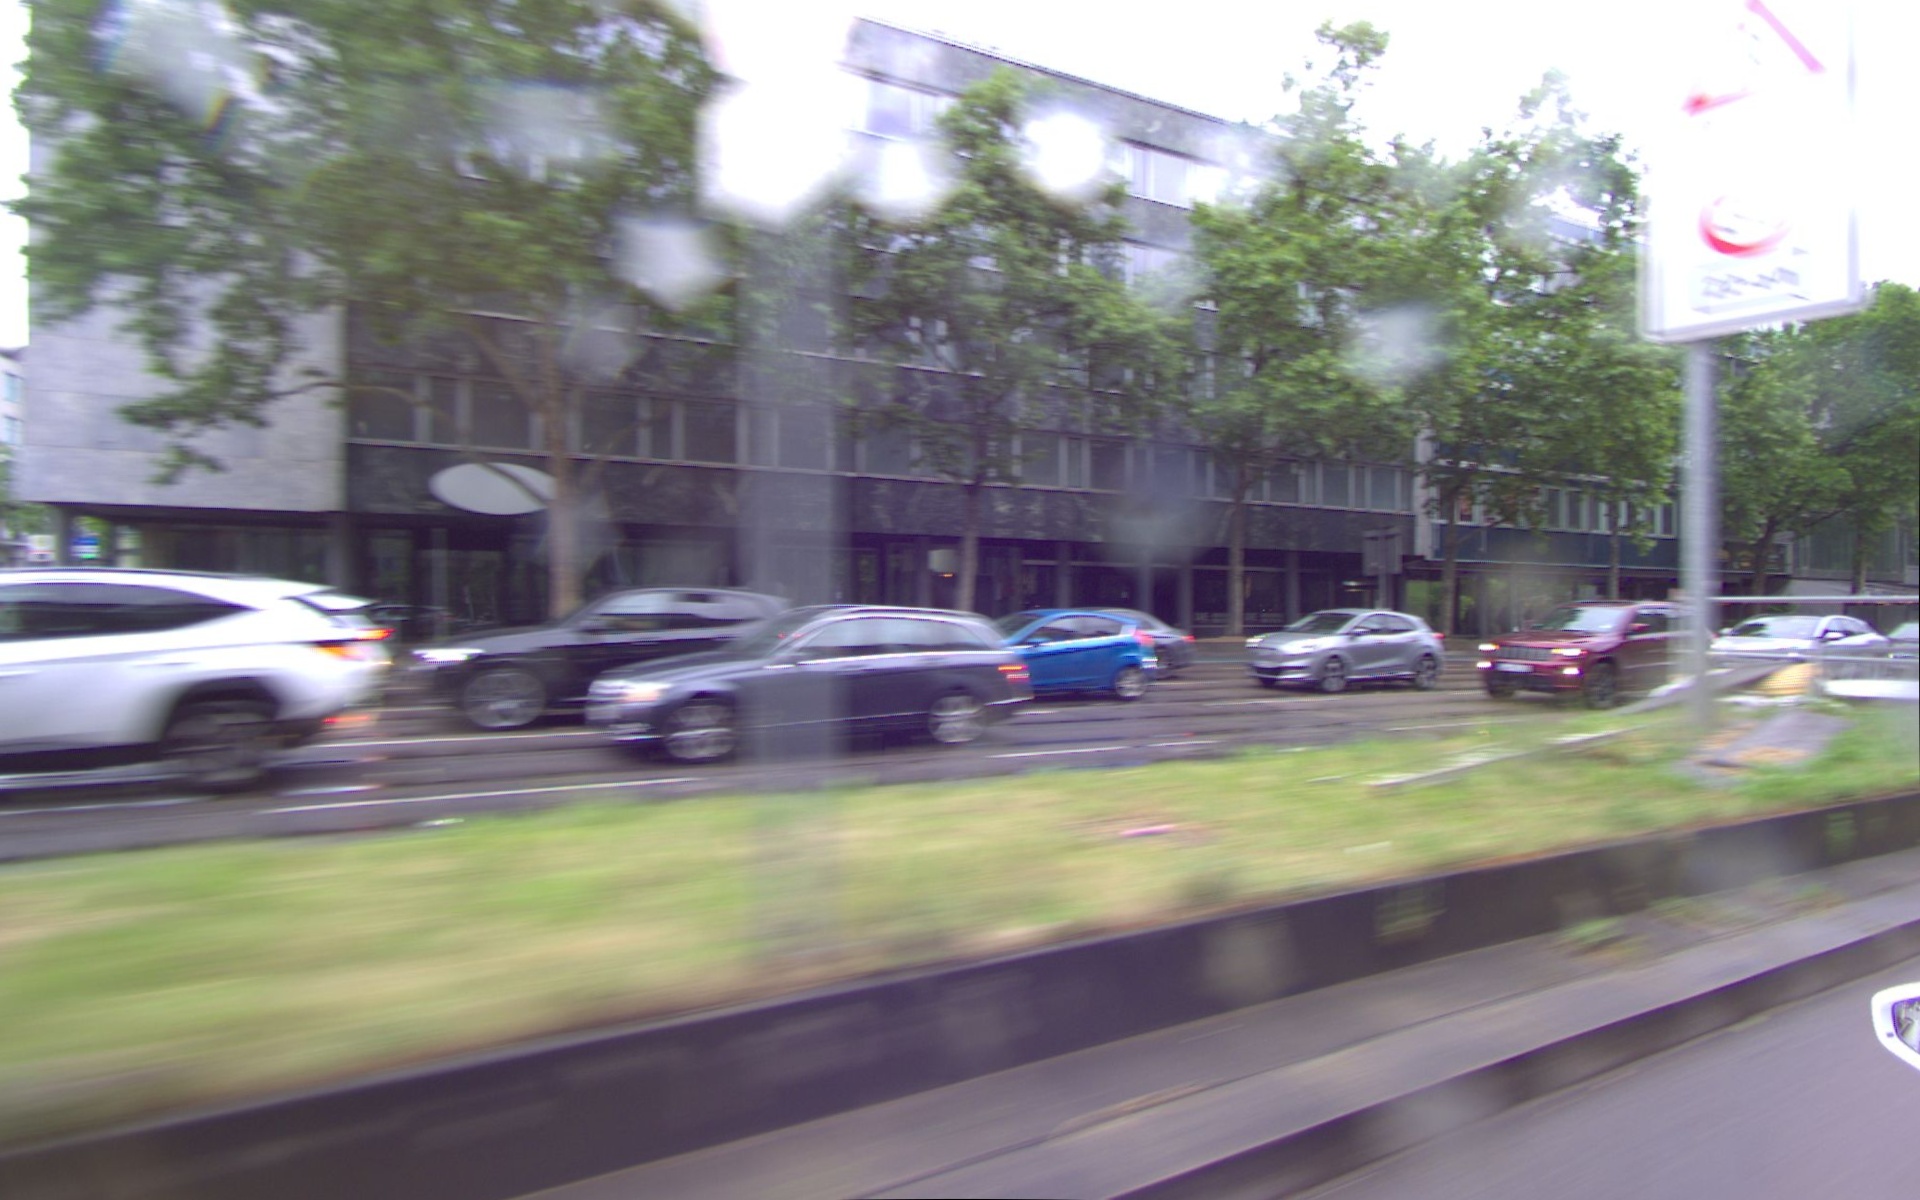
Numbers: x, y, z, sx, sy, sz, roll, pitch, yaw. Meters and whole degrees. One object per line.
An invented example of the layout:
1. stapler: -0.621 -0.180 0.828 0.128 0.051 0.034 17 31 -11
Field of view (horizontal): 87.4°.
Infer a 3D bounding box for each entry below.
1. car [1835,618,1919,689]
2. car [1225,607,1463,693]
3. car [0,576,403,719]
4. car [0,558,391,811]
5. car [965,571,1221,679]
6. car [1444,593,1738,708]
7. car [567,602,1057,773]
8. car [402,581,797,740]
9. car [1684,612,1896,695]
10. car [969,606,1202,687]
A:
1. car: 23.633 1.251 24.404 4.479 1.573 1.909 1 0 -25
2. car: 7.452 0.904 19.419 4.509 1.511 1.713 1 0 -27
3. car: -9.932 0.566 13.173 4.536 1.625 1.983 1 0 -31
4. car: -7.015 0.567 7.543 4.743 1.708 1.867 1 0 -31
5. car: 2.227 0.399 16.581 3.953 1.586 1.744 1 0 -30
6. car: 10.966 0.803 17.405 5.038 1.790 1.831 1 0 -24
7. car: -1.493 0.787 10.703 4.855 1.470 1.836 1 0 -28
8. car: -4.402 0.659 12.491 4.356 1.687 1.836 1 0 -28
9. car: 17.652 1.069 21.319 4.769 1.594 1.728 1 0 -27
10. car: 2.600 0.870 20.506 4.533 1.466 1.882 0 0 -30
